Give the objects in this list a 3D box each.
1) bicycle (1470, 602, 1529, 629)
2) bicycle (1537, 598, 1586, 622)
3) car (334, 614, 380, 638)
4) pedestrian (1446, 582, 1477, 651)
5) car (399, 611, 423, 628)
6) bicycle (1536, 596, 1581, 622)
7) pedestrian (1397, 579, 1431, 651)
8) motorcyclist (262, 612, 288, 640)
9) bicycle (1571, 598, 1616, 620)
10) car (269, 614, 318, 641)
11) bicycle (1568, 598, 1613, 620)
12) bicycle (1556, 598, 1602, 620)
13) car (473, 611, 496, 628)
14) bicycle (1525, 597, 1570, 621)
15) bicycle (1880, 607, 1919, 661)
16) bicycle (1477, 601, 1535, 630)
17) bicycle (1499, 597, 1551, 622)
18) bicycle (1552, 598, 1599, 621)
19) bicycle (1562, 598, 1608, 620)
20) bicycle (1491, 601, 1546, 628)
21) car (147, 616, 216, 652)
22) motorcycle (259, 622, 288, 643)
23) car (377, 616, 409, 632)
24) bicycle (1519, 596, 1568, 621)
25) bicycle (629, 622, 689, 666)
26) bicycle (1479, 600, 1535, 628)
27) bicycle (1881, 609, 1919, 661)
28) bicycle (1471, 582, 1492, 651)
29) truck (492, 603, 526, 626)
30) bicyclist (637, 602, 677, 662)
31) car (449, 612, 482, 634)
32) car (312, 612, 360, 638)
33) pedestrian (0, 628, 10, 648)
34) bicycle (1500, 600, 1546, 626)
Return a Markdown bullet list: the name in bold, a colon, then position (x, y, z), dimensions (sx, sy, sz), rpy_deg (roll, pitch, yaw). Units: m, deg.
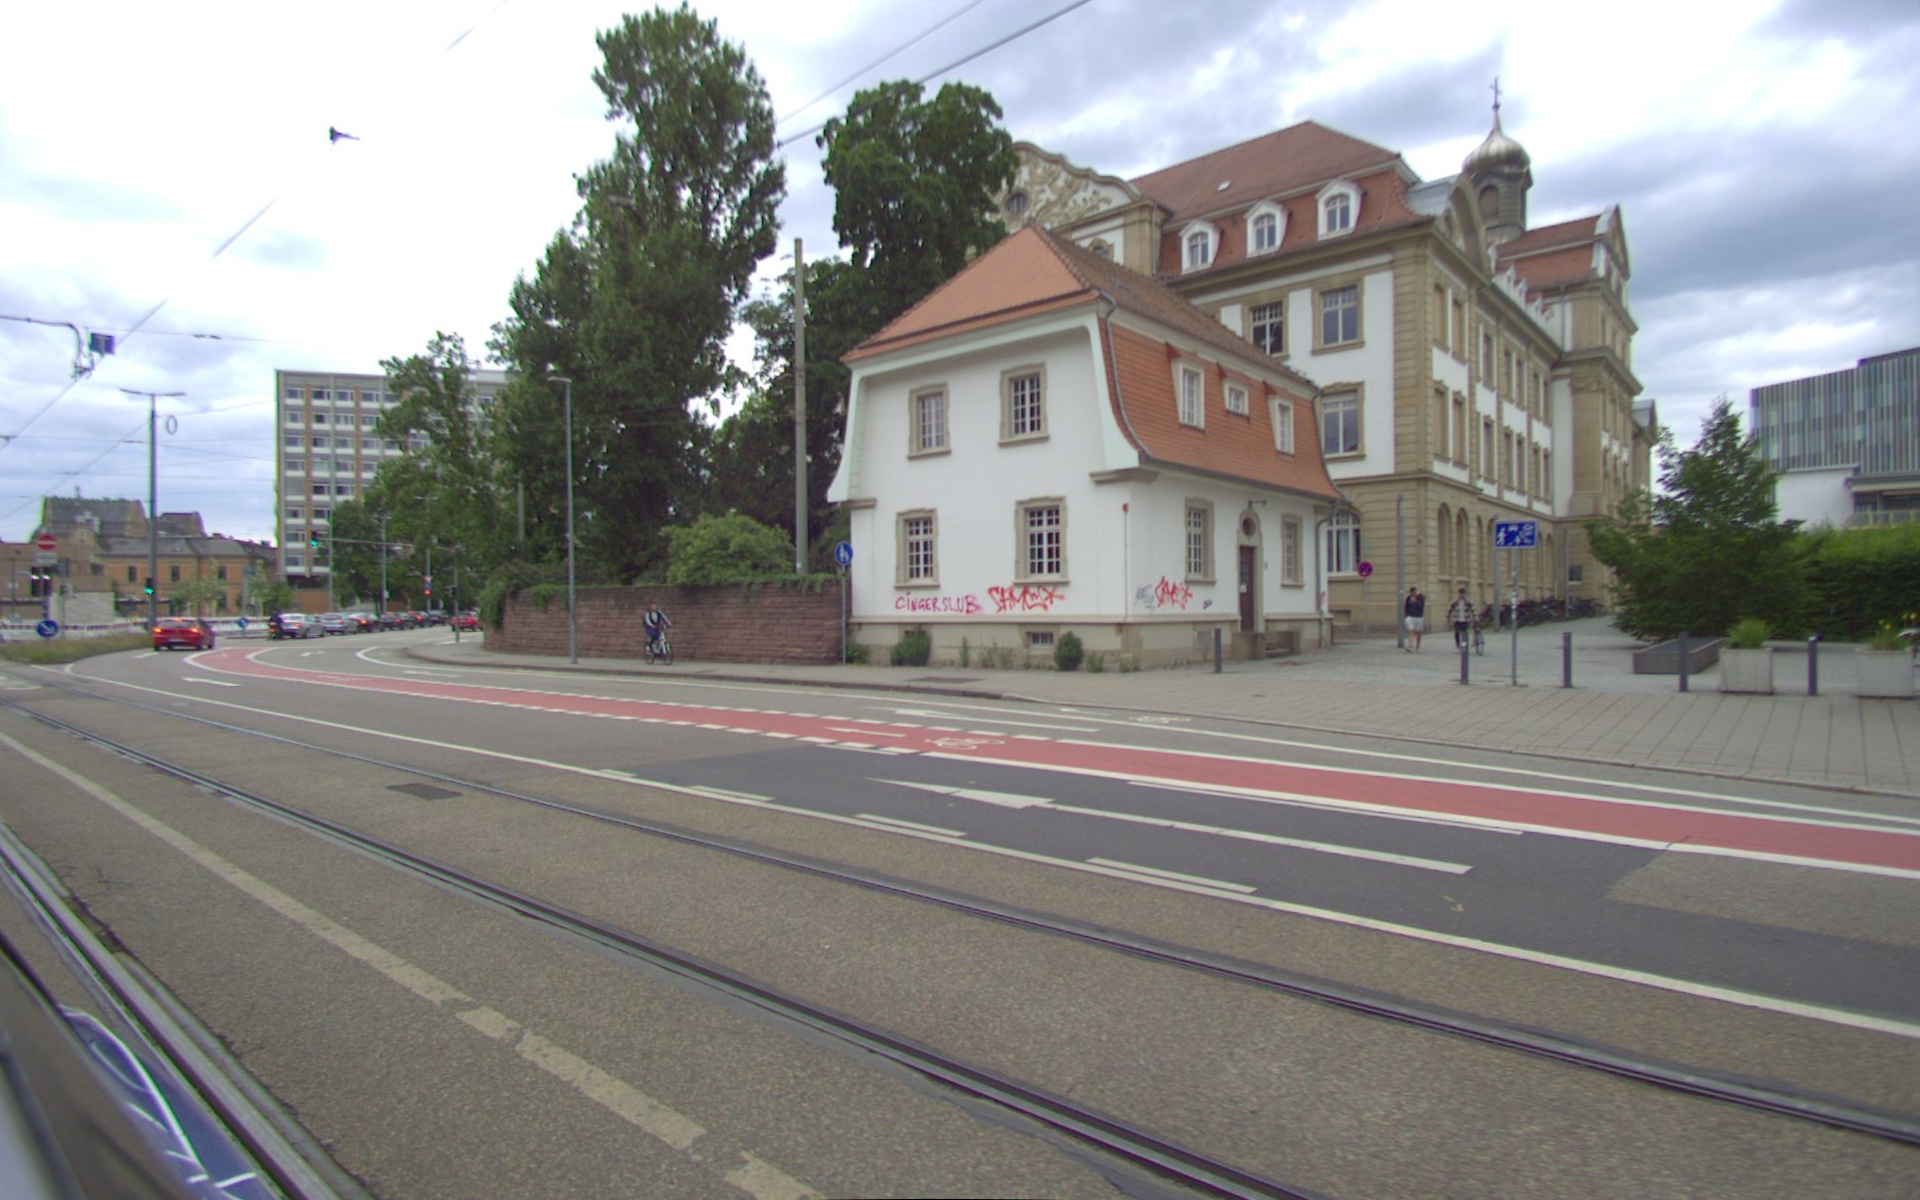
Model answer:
- **bicycle**: position (21.469, 0.605, 40.268), dimensions (0.708, 0.986, 1.932), rpy_deg (0, 2, -44)
- **bicycle**: position (29.629, 0.490, 49.867), dimensions (0.708, 1.082, 1.932), rpy_deg (0, 2, -44)
- **car**: position (-43.420, 1.860, 72.973), dimensions (1.757, 1.623, 4.336), rpy_deg (-1, 0, -15)
- **pedestrian**: position (13.337, 0.432, 26.941), dimensions (0.639, 1.794, 0.684), rpy_deg (2, 1, 23)
- **car**: position (-46.788, 1.641, 86.289), dimensions (1.391, 1.342, 3.321), rpy_deg (-1, 0, -21)
- **bicycle**: position (28.776, 0.425, 48.648), dimensions (0.579, 1.224, 1.782), rpy_deg (0, 1, -44)
- **pedestrian**: position (12.201, 0.402, 27.209), dimensions (0.750, 1.899, 0.685), rpy_deg (1, 1, 22)
- **motorcyclist**: position (-38.553, 1.453, 56.993), dimensions (1.058, 1.497, 1.255), rpy_deg (-1, -1, -27)
- **bicycle**: position (34.072, 0.466, 54.447), dimensions (0.708, 1.082, 1.932), rpy_deg (0, 2, -44)
- **car**: position (-39.820, 1.616, 60.524), dimensions (1.469, 1.520, 3.480), rpy_deg (0, 0, -16)
- **bicycle**: position (33.464, 0.469, 53.723), dimensions (0.708, 1.082, 1.932), rpy_deg (0, 2, -44)
- **bicycle**: position (32.225, 0.474, 52.699), dimensions (0.708, 1.082, 1.932), rpy_deg (0, 2, -44)
- **car**: position (-41.009, 1.666, 87.304), dimensions (1.558, 1.408, 4.013), rpy_deg (0, 0, -22)
- **bicycle**: position (27.769, 0.428, 47.858), dimensions (0.539, 1.082, 1.717), rpy_deg (0, 1, -44)
- **bicycle**: position (18.856, 0.645, 19.145), dimensions (2.089, 1.026, 0.655), rpy_deg (-1, -1, 41)
- **bicycle**: position (22.080, 0.602, 40.956), dimensions (0.708, 1.082, 1.932), rpy_deg (0, 2, -44)
- **bicycle**: position (25.343, 0.417, 45.410), dimensions (0.606, 1.082, 1.932), rpy_deg (0, 2, -44)
- **bicycle**: position (31.514, 0.478, 51.829), dimensions (0.708, 1.082, 1.932), rpy_deg (0, 2, -44)
- **bicycle**: position (32.798, 0.474, 53.145), dimensions (0.708, 1.082, 1.932), rpy_deg (0, 2, -44)
- **bicycle**: position (24.035, 0.600, 43.548), dimensions (0.708, 1.082, 1.932), rpy_deg (0, 2, -44)
- **car**: position (-34.468, 1.496, 44.911), dimensions (1.731, 1.510, 4.013), rpy_deg (1, -1, -27)
- **motorcycle**: position (-38.359, 1.805, 56.559), dimensions (1.038, 1.077, 2.656), rpy_deg (-1, -1, -27)
- **car**: position (-44.384, 1.902, 79.247), dimensions (1.400, 1.180, 3.079), rpy_deg (-1, 0, -13)
- **bicycle**: position (27.080, 0.376, 46.998), dimensions (0.642, 1.082, 1.873), rpy_deg (0, 2, -44)
- **bicycle**: position (-8.679, 1.249, 29.156), dimensions (1.868, 1.221, 0.766), rpy_deg (-1, -1, 41)
- **bicycle**: position (23.142, 0.588, 42.842), dimensions (0.708, 1.082, 1.932), rpy_deg (0, 2, -44)
- **bicycle**: position (19.493, 0.677, 19.827), dimensions (2.089, 1.021, 0.655), rpy_deg (-1, -1, 40)
- **bicycle**: position (13.804, 0.426, 26.793), dimensions (0.357, 1.794, 0.933), rpy_deg (2, 1, 23)
- **truck**: position (-62.107, 1.951, 139.478), dimensions (3.435, 3.002, 7.636), rpy_deg (-1, 0, -17)
- **bicyclist**: position (-8.762, 0.910, 29.227), dimensions (0.868, 1.703, 0.766), rpy_deg (-1, -1, 41)
- **car**: position (-39.033, 1.791, 79.937), dimensions (1.801, 1.594, 4.012), rpy_deg (-1, 0, -18)
- **car**: position (-41.819, 1.639, 67.915), dimensions (1.658, 1.663, 3.992), rpy_deg (-1, 0, -15)
- **pedestrian**: position (-49.715, 1.974, 52.570), dimensions (0.537, 1.064, 0.638), rpy_deg (0, -1, -41)
- **bicycle**: position (24.676, 0.556, 44.361), dimensions (0.482, 1.082, 1.704), rpy_deg (0, 2, -44)
